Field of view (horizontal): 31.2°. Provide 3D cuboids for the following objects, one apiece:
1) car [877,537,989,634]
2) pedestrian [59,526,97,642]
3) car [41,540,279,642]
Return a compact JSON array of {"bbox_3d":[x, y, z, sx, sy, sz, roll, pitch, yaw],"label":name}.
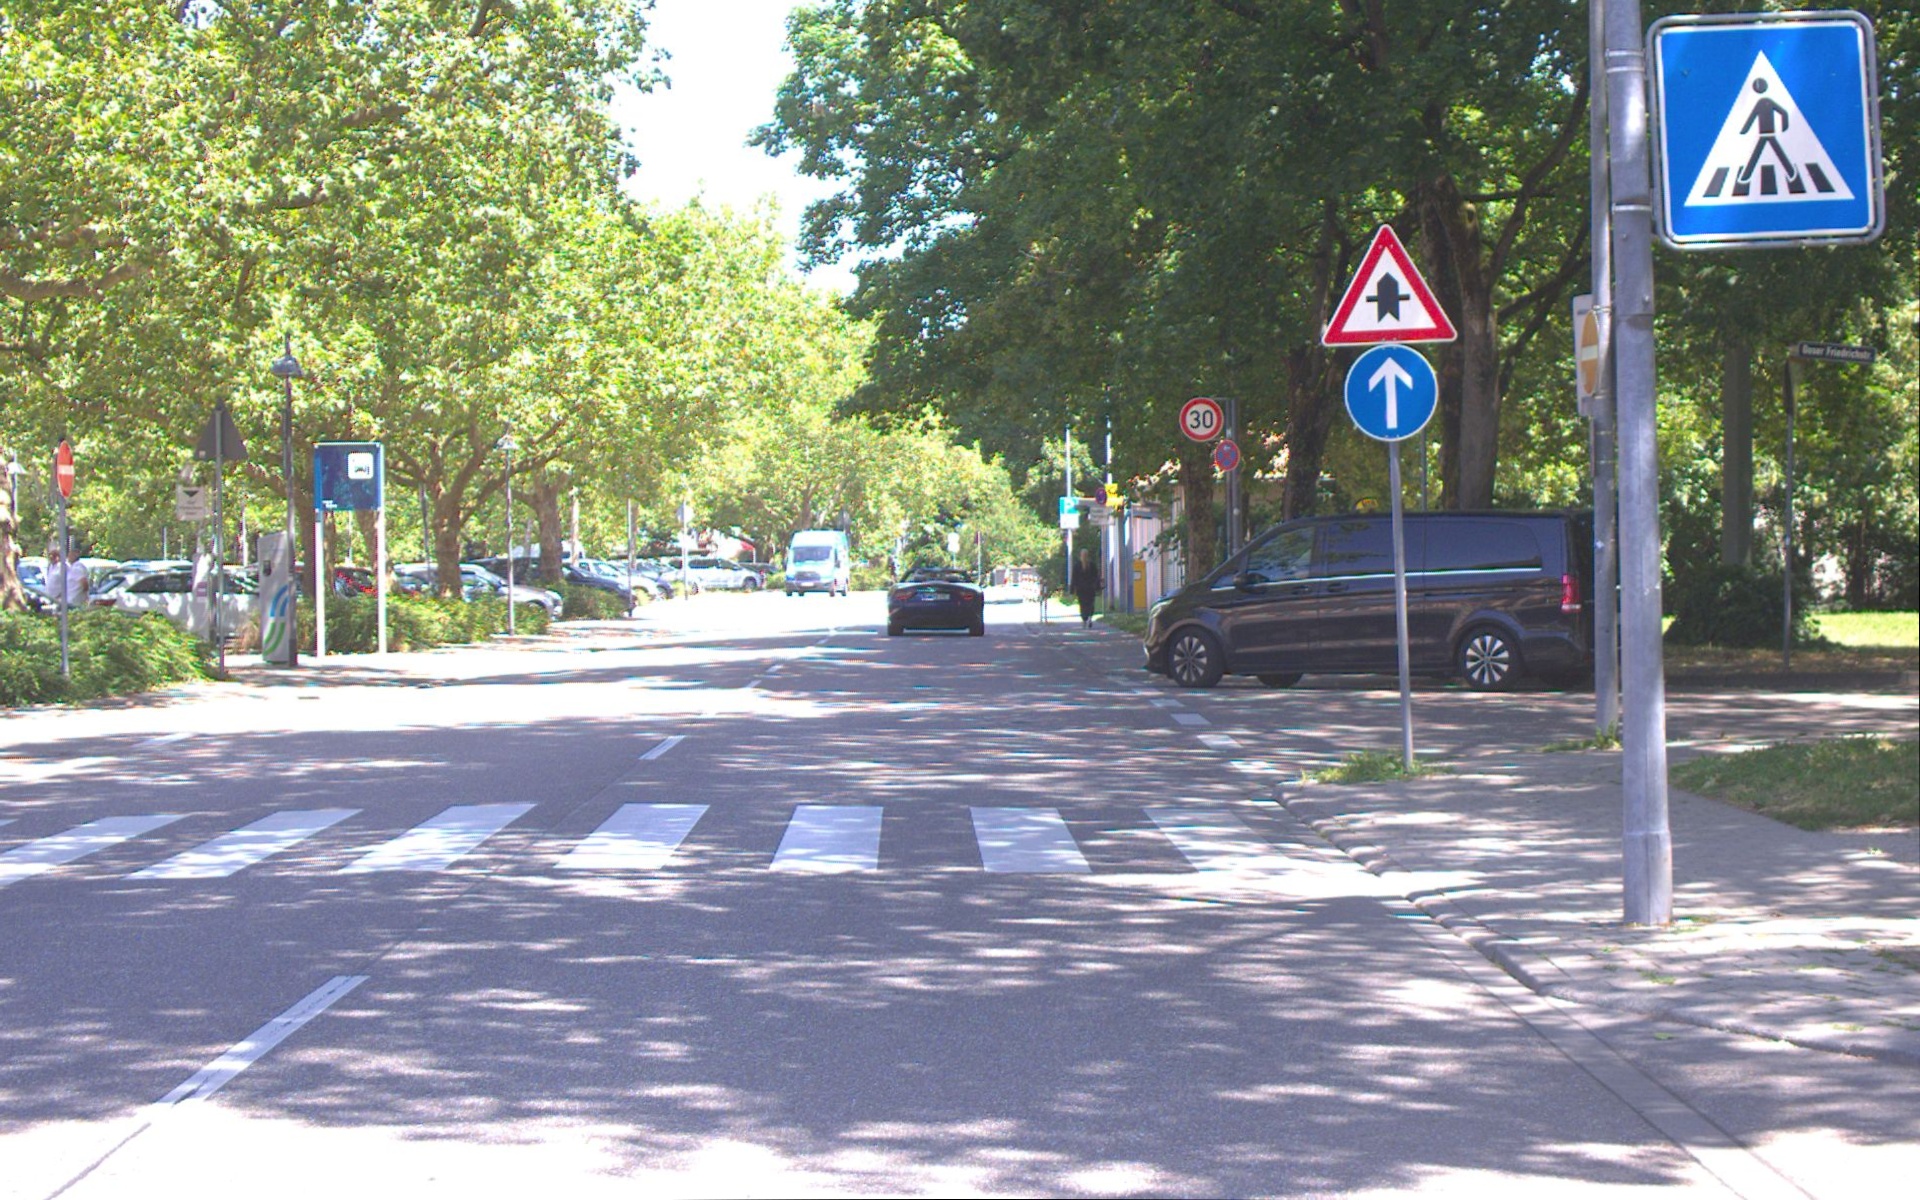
[{"bbox_3d":[-0.496,-0.299,67.831,2.125,1.842,4.048,0,1,1],"label":"car"},{"bbox_3d":[-15.458,-0.275,60.270,0.624,2.007,0.570,-1,-1,-14],"label":"pedestrian"},{"bbox_3d":[-14.419,-0.159,61.898,3.986,1.775,2.000,-1,0,-18],"label":"car"}]
